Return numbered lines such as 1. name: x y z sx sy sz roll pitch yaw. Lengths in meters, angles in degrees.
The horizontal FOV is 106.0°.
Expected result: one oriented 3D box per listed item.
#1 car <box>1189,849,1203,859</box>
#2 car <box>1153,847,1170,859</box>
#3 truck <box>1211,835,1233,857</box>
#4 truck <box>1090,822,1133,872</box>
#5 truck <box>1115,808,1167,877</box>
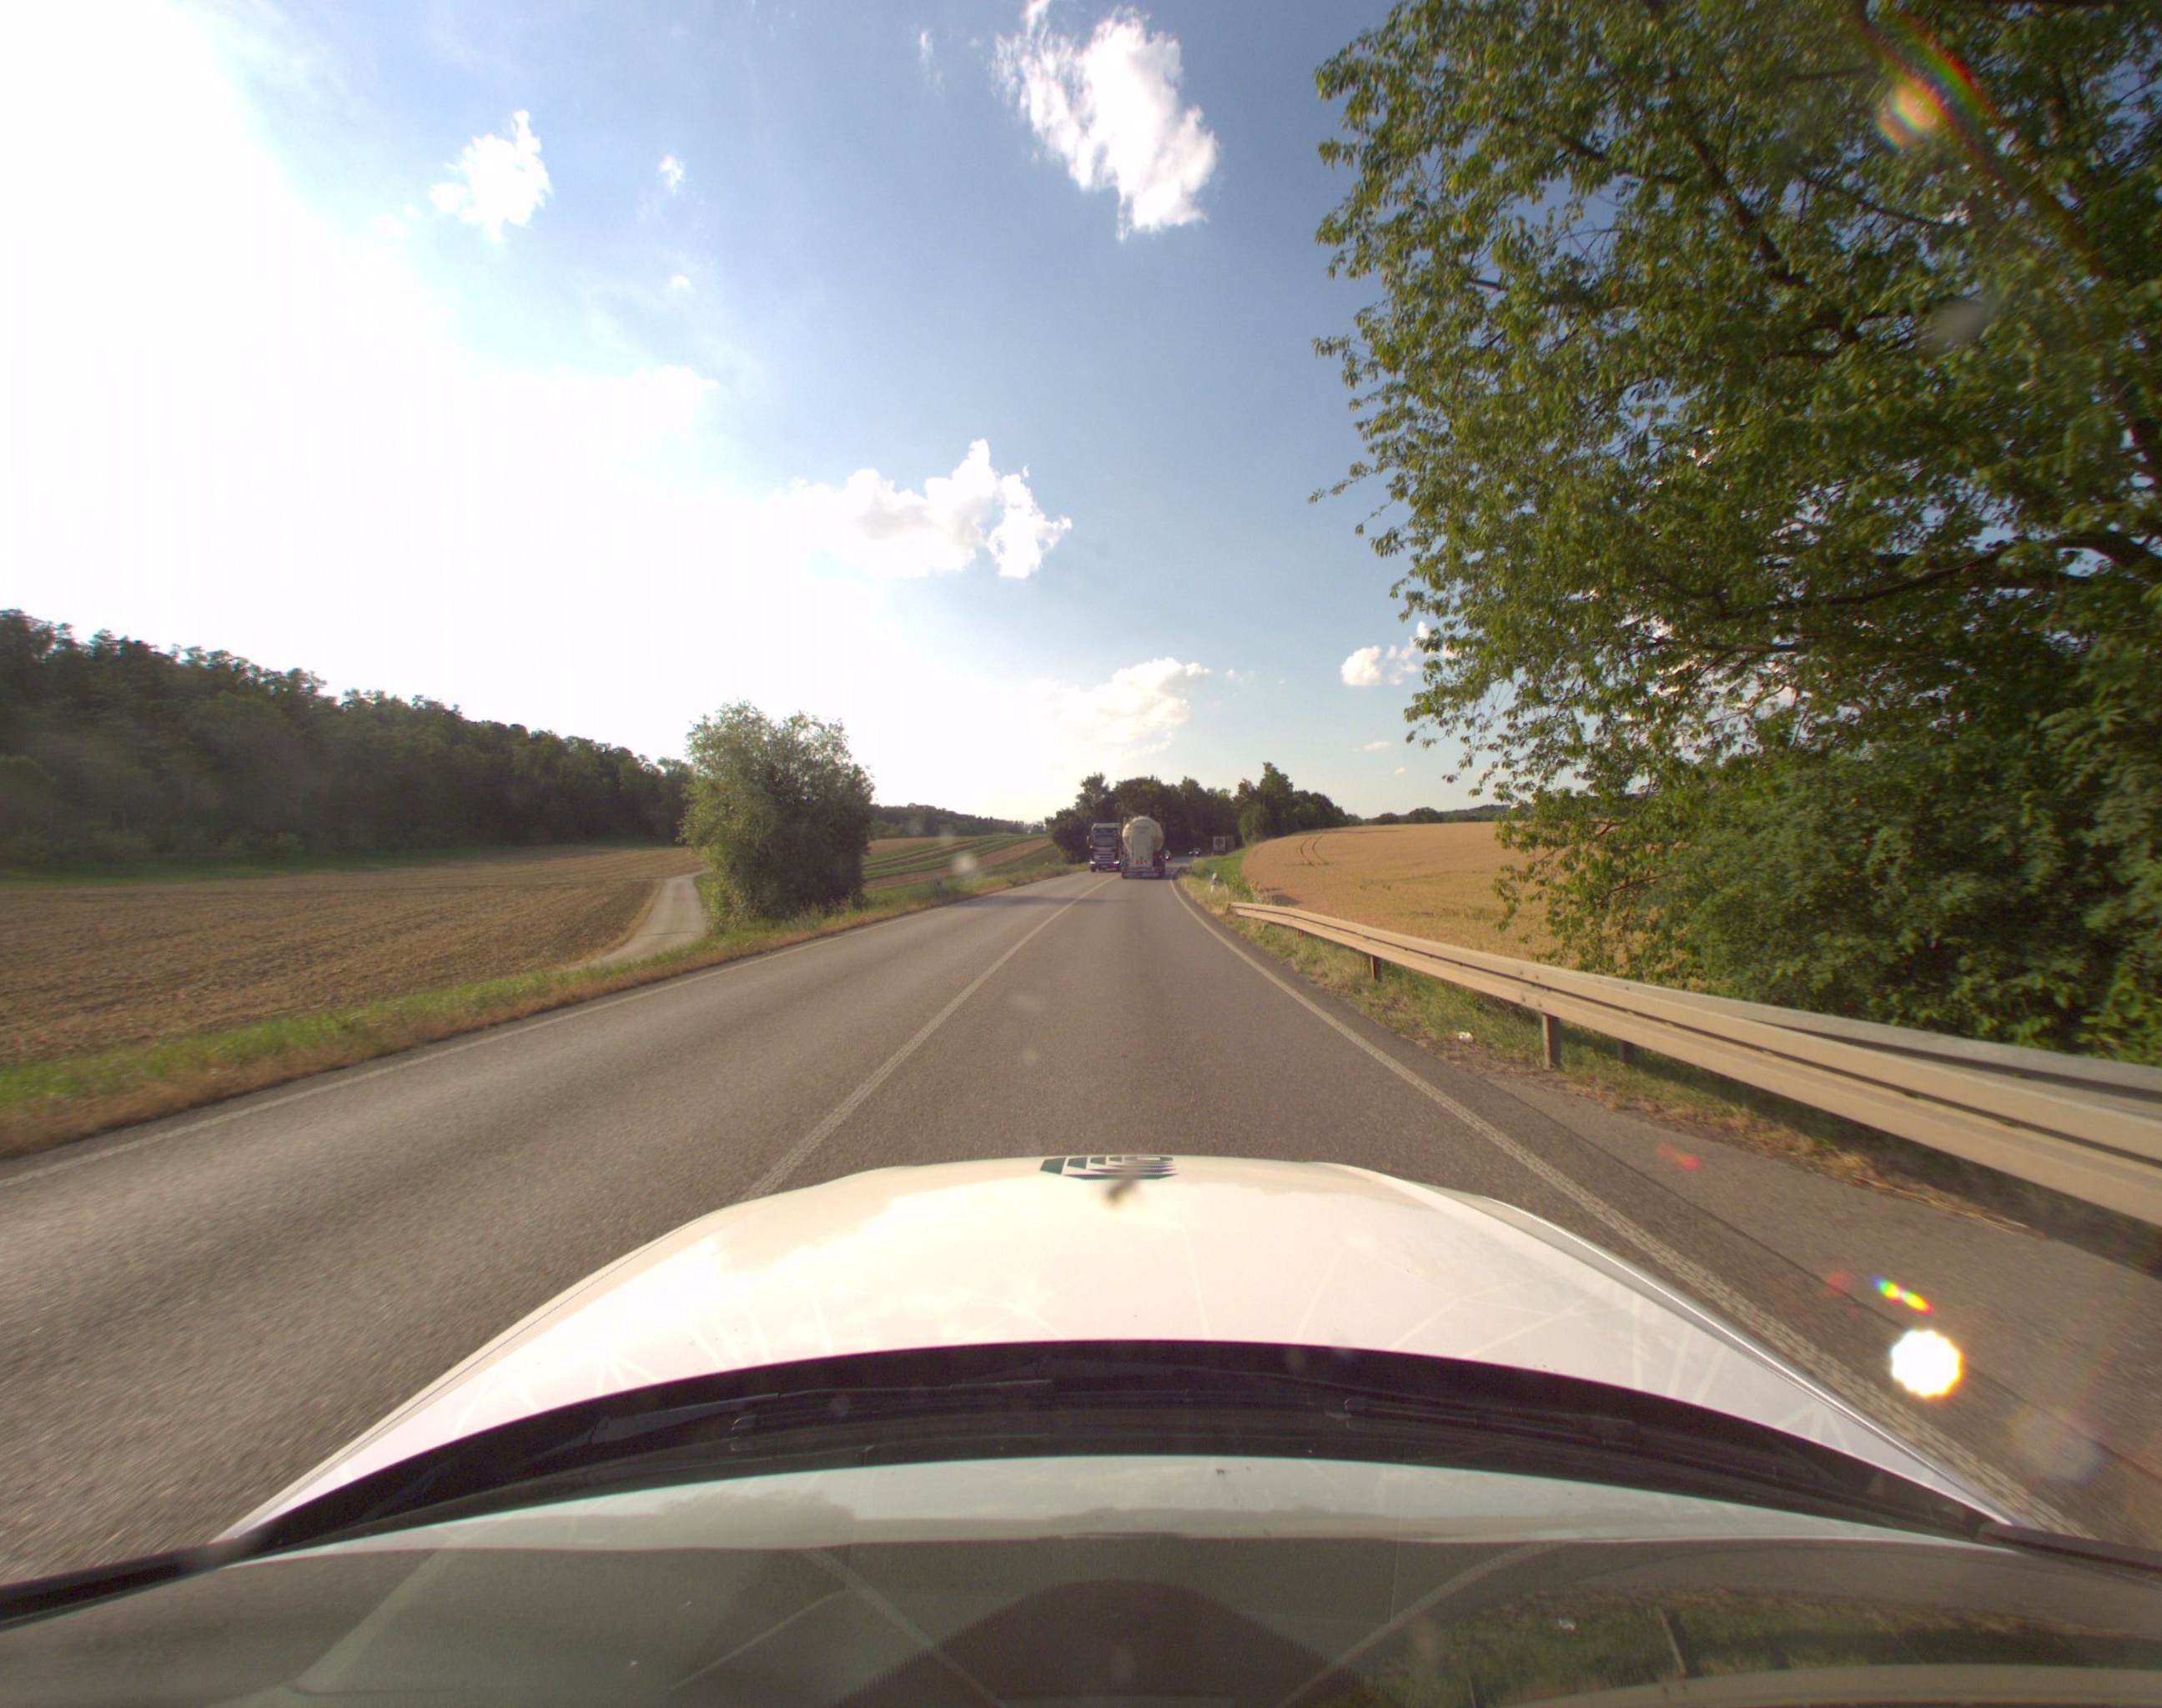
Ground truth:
1. car: 22.556 -0.050 160.064 1.885 1.771 4.515 -1 2 19
2. car: 12.158 -0.110 122.611 1.962 1.651 4.376 -1 1 11
3. truck: 29.449 -1.743 169.119 3.160 4.227 13.227 -1 0 15
4. truck: 2.717 -0.613 69.511 2.375 3.920 10.186 -1 0 9
5. truck: 4.309 -0.667 55.679 2.877 4.142 13.197 0 0 7
